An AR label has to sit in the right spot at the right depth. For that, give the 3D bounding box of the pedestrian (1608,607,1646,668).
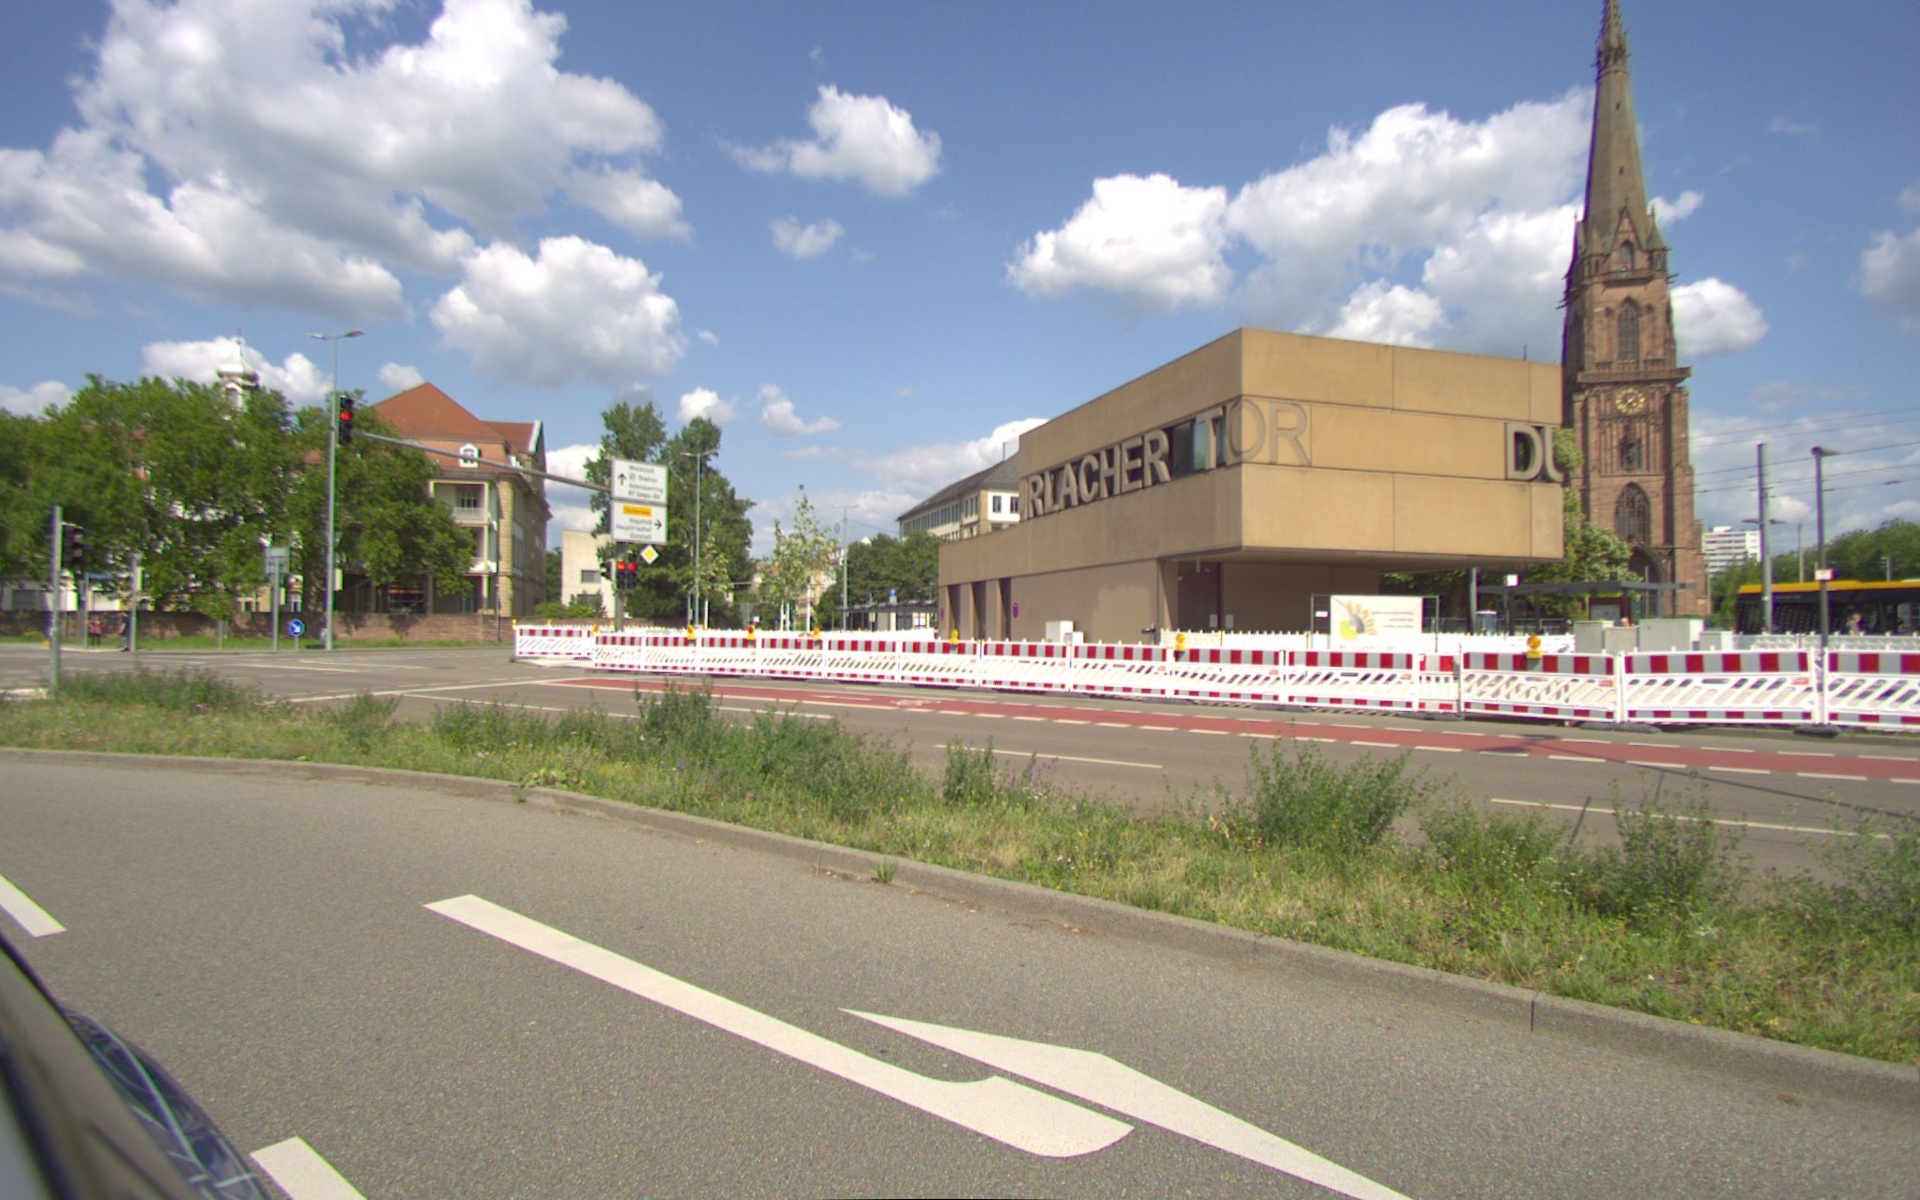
[{"bbox_3d":[18.365,1.023,27.864,0.720,1.642,0.561,1,-2,-27],"label":"pedestrian"}]

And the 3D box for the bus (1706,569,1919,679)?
[{"bbox_3d":[29.198,0.697,29.359,2.786,3.160,12.879,1,-2,-18],"label":"bus"}]

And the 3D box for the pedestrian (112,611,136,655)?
[{"bbox_3d":[-38.511,1.516,46.627,0.616,2.009,0.579,-1,0,13],"label":"pedestrian"}]

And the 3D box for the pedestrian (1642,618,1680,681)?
[{"bbox_3d":[18.587,1.295,26.843,0.763,1.644,0.646,-1,-2,30],"label":"pedestrian"}]

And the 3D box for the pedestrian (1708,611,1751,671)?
[{"bbox_3d":[21.496,1.129,28.280,0.752,1.644,0.655,1,-2,-26],"label":"pedestrian"}]

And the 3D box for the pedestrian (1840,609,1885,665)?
[{"bbox_3d":[26.580,1.080,29.802,0.641,1.644,0.768,1,-2,-23],"label":"pedestrian"}]

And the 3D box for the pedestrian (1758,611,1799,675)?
[{"bbox_3d":[21.398,1.124,26.461,0.753,1.644,0.654,1,-2,-36],"label":"pedestrian"}]

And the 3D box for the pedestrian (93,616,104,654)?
[{"bbox_3d":[-40.121,1.622,47.114,0.363,1.745,0.451,-1,0,-39],"label":"pedestrian"}]
